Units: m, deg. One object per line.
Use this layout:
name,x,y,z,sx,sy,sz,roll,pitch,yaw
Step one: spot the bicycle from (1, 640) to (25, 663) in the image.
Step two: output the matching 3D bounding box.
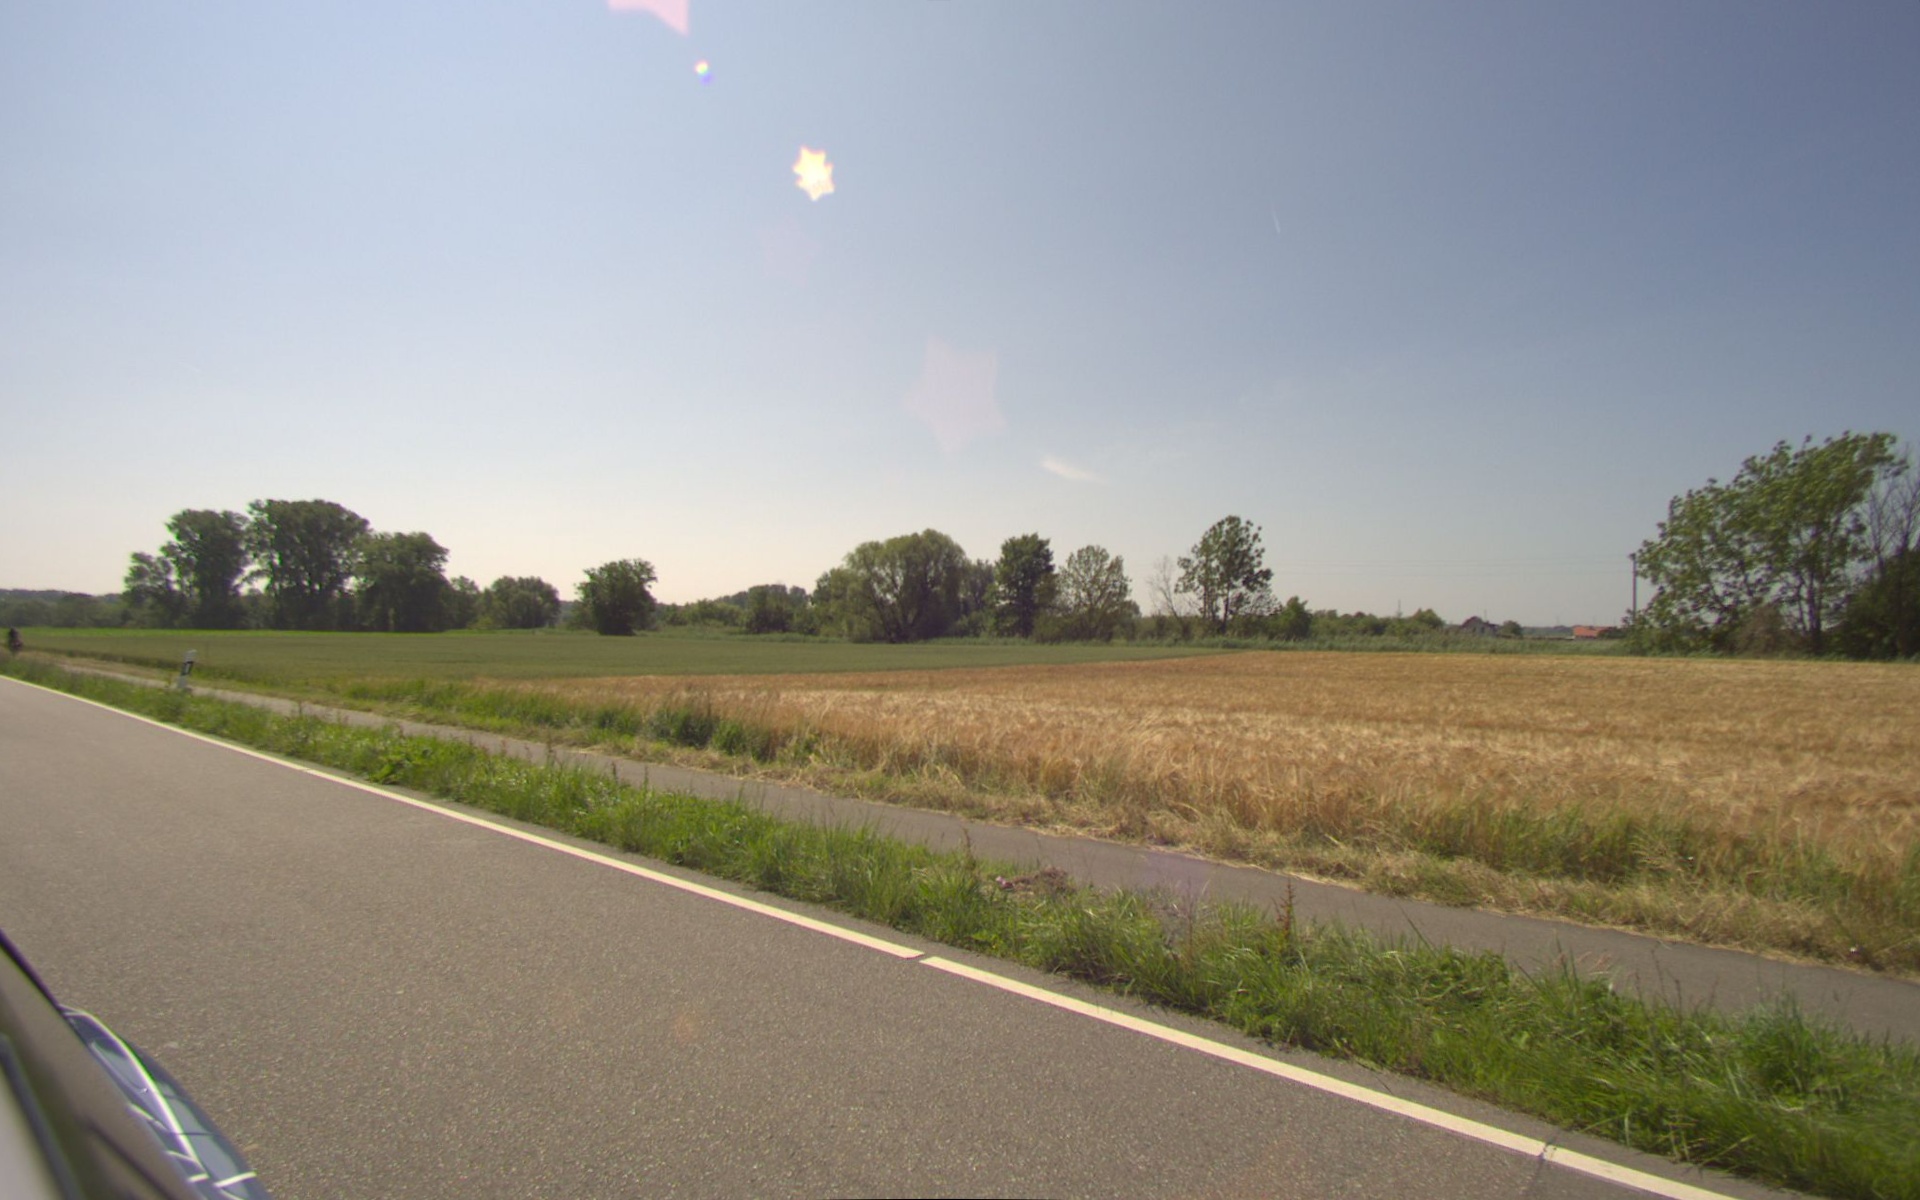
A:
bicycle,-50.640,2.737,54.101,2.082,1.180,0.733,-1,-3,42

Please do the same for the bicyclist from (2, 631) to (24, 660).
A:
bicyclist,-50.650,2.430,54.110,1.002,1.508,0.733,-1,-3,41
